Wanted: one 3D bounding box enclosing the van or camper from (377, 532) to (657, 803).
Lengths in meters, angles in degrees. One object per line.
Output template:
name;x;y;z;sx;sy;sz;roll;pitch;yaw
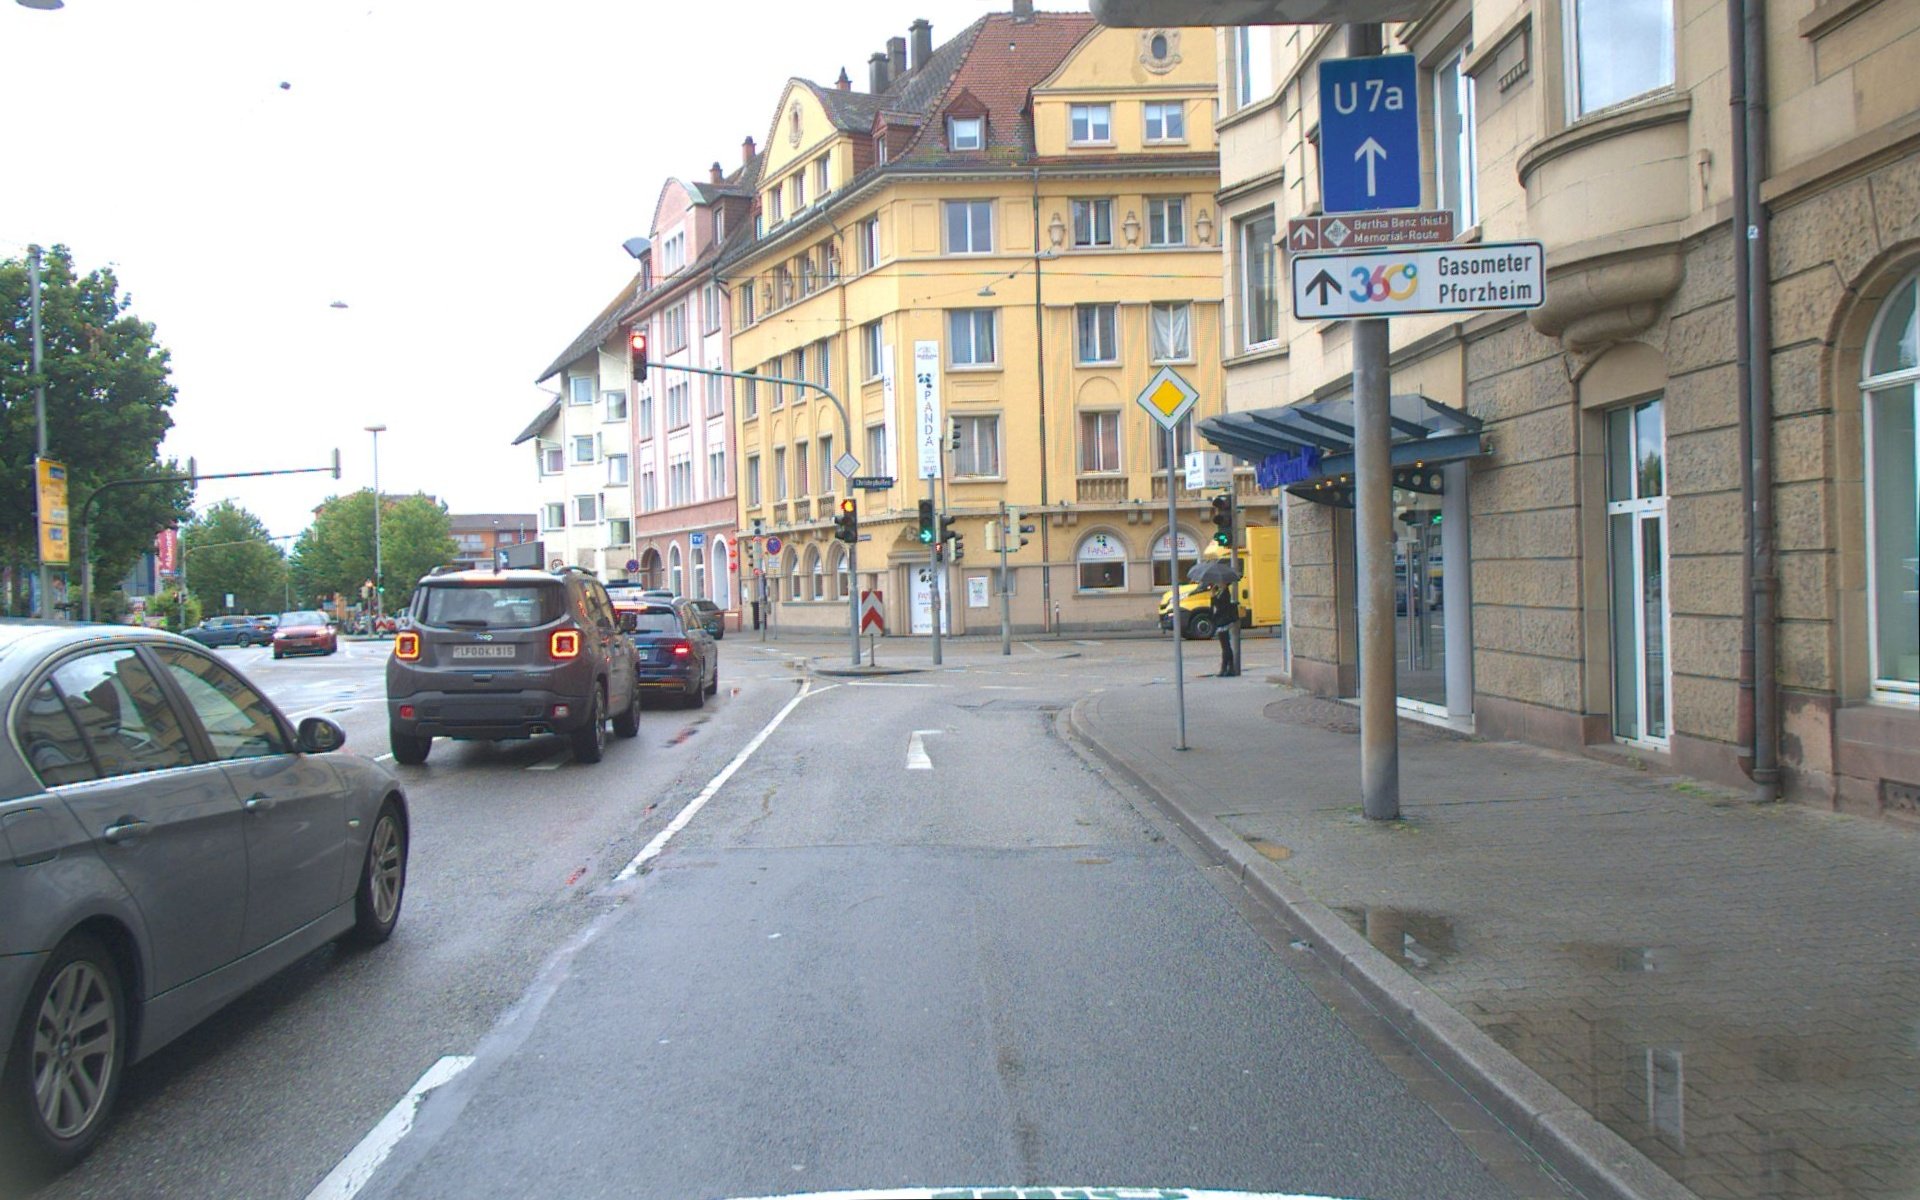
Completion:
van or camper;-4.046;0.542;15.779;1.818;2.184;4.138;-2;0;-5

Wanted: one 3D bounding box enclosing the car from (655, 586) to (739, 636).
car;-9.278;0.356;58.224;1.856;1.665;3.967;0;1;-26

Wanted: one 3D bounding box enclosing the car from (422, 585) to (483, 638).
car;-20.756;0.466;67.606;1.967;2.049;3.972;-2;0;-23

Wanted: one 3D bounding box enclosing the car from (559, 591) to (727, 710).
car;-4.195;0.628;22.526;1.768;1.430;4.679;-1;0;-5

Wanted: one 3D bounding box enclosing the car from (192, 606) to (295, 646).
car;-33.318;1.207;76.930;3.902;1.780;2.002;-1;0;9

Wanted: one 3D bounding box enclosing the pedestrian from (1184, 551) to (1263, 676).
pedestrian;4.208;0.204;26.357;1.035;1.937;1.025;-1;0;20

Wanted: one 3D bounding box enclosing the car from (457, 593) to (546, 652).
car;-15.538;0.745;55.962;1.972;1.847;3.960;-1;0;-30

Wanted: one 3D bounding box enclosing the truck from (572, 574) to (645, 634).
truck;-14.847;0.147;69.655;2.002;2.431;4.199;-1;0;-27

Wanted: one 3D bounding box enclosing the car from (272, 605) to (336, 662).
car;-21.370;1.050;53.798;1.820;1.713;3.971;-1;0;-23

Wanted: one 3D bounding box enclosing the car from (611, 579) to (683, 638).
car;-12.257;0.319;64.650;1.741;2.218;3.965;-1;0;-27

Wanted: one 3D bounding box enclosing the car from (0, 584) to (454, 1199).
car;-3.091;0.711;5.361;1.763;1.490;4.368;0;0;-3

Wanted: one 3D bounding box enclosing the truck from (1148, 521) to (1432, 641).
truck;8.569;-0.493;43.357;6.949;2.901;2.081;-1;0;-3
